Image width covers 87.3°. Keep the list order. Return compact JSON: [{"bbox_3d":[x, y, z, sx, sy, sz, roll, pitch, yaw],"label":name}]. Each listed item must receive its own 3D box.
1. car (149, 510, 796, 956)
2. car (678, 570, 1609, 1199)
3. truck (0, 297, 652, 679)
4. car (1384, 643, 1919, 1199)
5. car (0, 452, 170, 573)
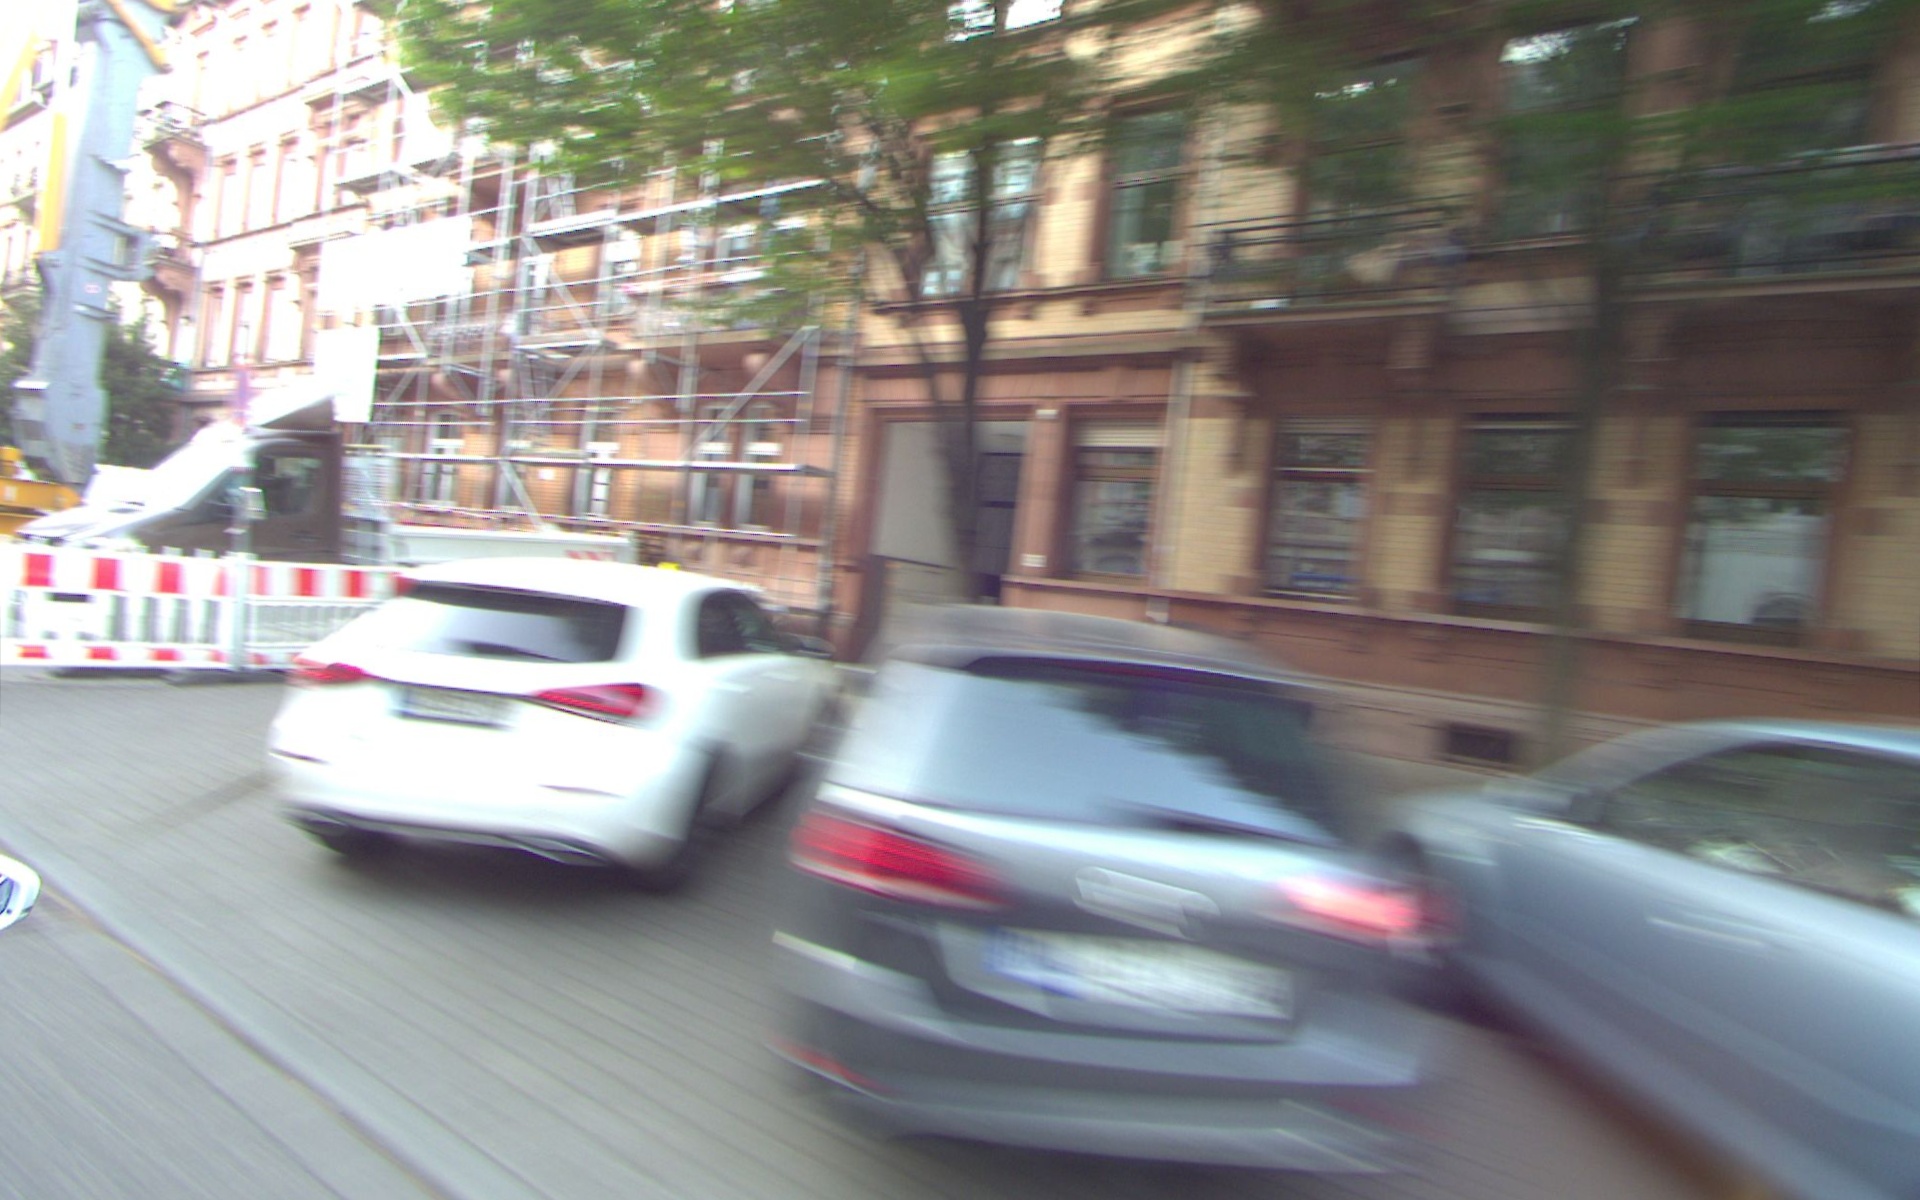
[{"bbox_3d":[-2.155,0.452,5.749,1.653,1.508,3.991,6,2,0],"label":"car"},{"bbox_3d":[0.295,0.723,4.151,1.797,1.508,4.165,6,2,-2],"label":"car"},{"bbox_3d":[-7.352,-0.875,12.139,2.486,3.112,6.484,6,-2,36],"label":"truck"},{"bbox_3d":[2.794,1.042,2.637,1.797,1.439,3.629,6,2,2],"label":"car"},{"bbox_3d":[-17.649,-1.712,17.971,1.868,1.982,5.172,8,3,32],"label":"car"}]
